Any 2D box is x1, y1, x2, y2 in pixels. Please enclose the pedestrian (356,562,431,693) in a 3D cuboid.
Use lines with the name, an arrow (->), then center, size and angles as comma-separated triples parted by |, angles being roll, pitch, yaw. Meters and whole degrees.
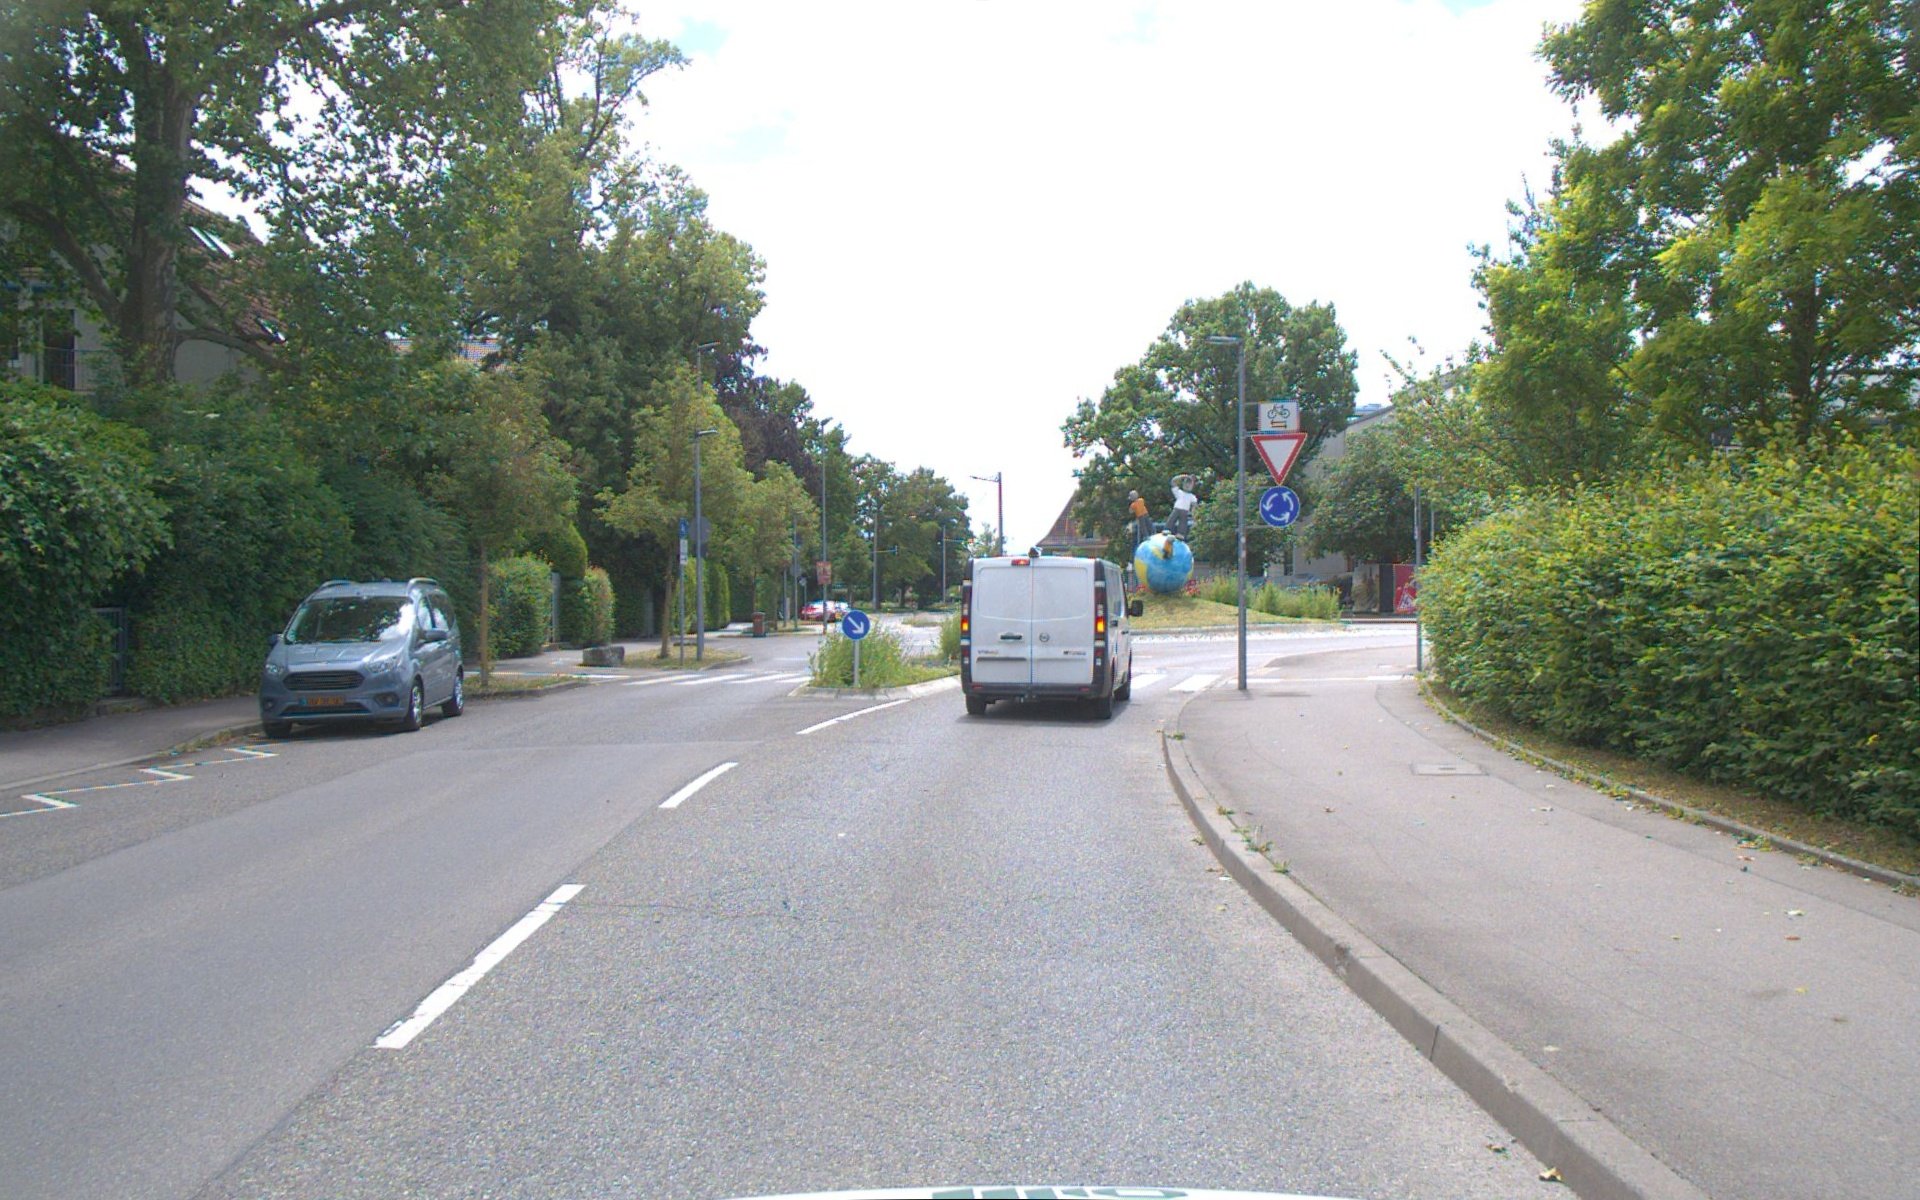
pedestrian -> -9.190, 0.429, 26.857 | 0.855, 2.049, 1.040 | -2, 0, -5

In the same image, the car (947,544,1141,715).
car -> 1.257, 0.309, 22.065 | 1.991, 1.979, 4.998 | 1, 1, 9

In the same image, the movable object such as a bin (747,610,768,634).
movable object such as a bin -> -7.608, 0.825, 62.228 | 0.616, 0.878, 0.641 | -2, 0, 9

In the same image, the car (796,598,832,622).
car -> -9.713, 0.642, 109.531 | 2.025, 1.410, 4.038 | -1, 1, -10

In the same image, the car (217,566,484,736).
car -> -7.194, 0.519, 20.052 | 2.092, 1.803, 4.457 | 1, 1, -8
